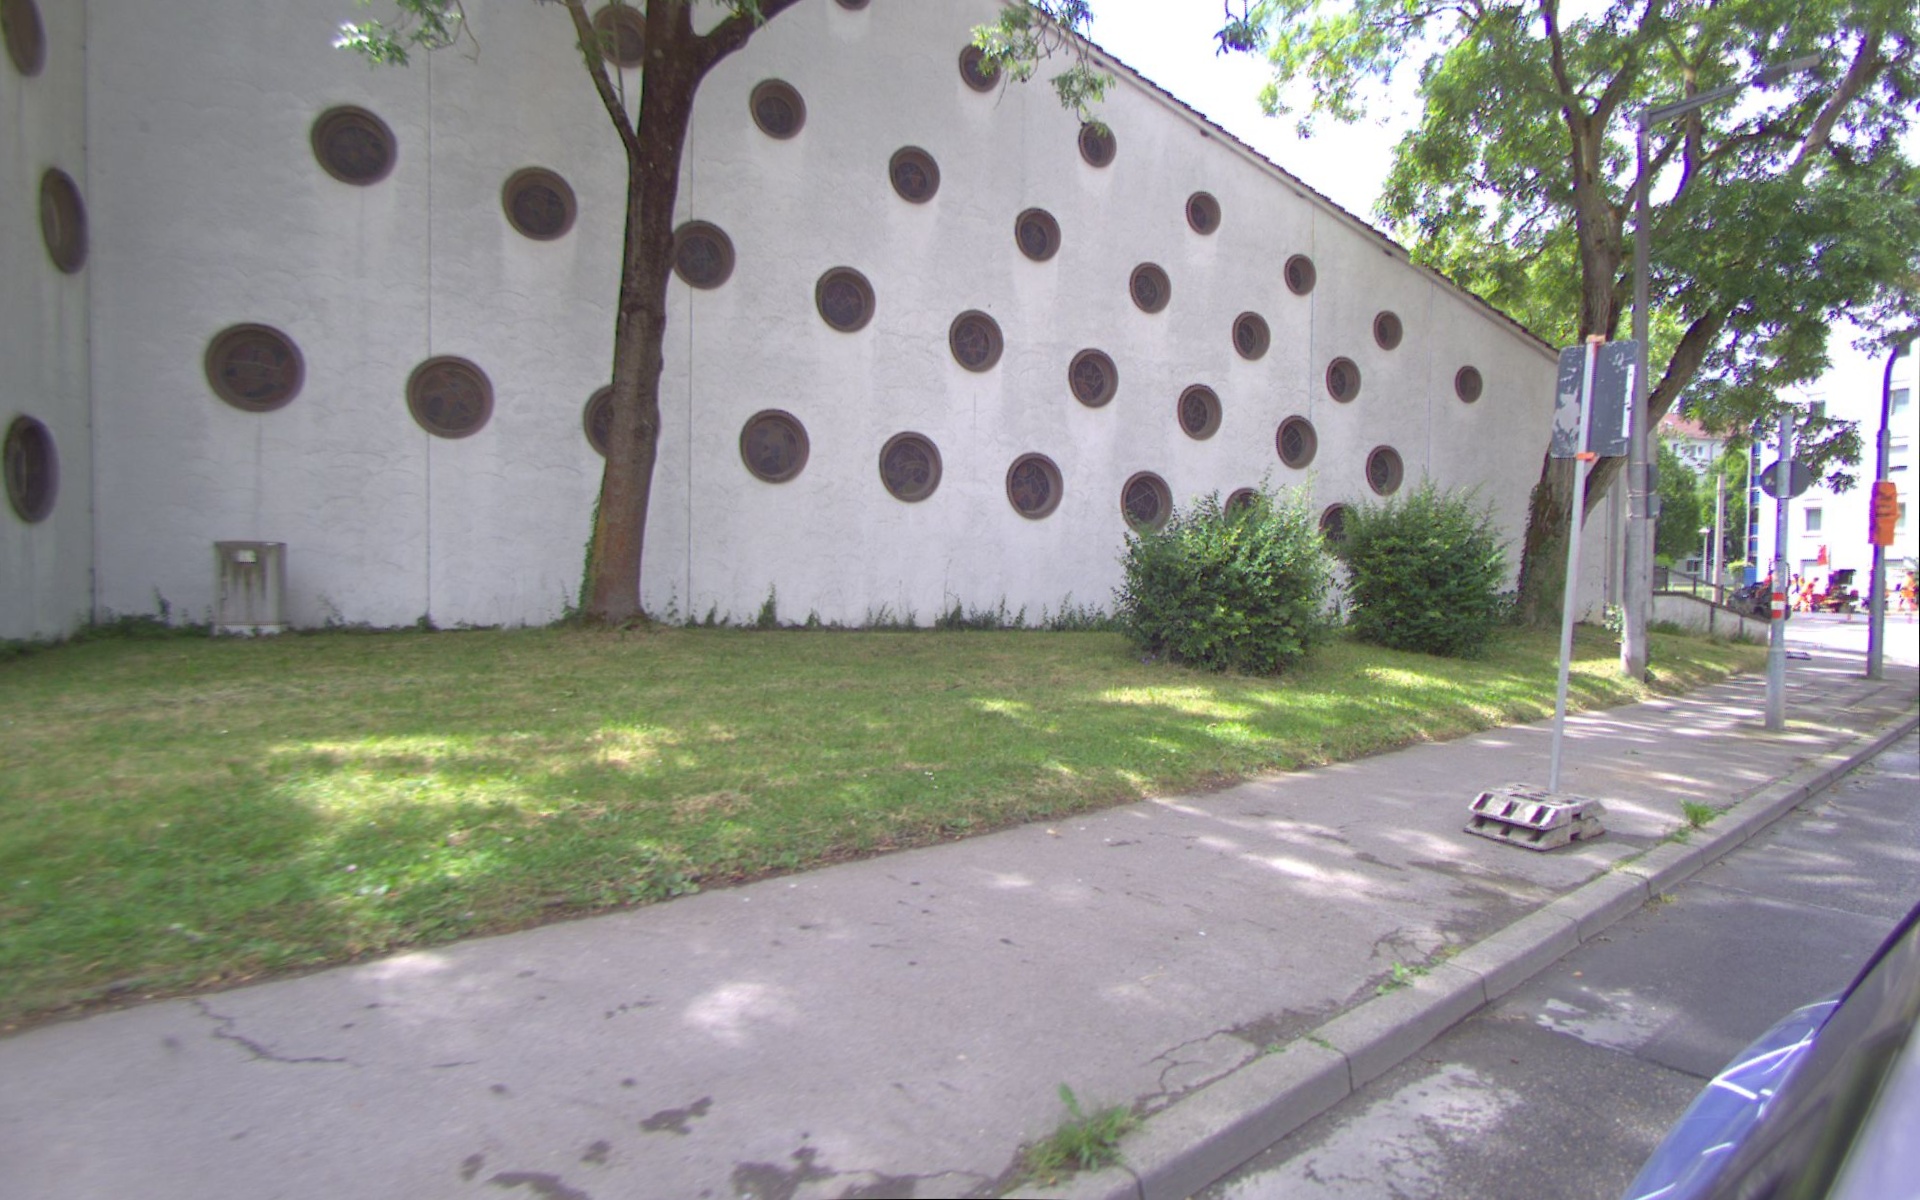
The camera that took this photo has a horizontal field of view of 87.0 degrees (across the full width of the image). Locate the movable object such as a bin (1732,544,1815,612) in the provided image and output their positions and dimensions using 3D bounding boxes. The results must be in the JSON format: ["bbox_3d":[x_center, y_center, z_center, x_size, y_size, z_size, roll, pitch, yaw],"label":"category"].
[{"bbox_3d":[32.225,-0.885,40.154,1.295,2.626,2.364,0,1,-1],"label":"movable object such as a bin"}]

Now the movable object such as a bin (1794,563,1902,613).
[{"bbox_3d":[38.525,-0.556,43.993,1.961,2.038,2.971,1,2,-3],"label":"movable object such as a bin"}]

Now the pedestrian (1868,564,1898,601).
[{"bbox_3d":[42.655,-0.808,46.781,0.874,1.704,0.660,1,2,31],"label":"pedestrian"}]

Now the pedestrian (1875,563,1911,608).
[{"bbox_3d":[39.004,-0.626,42.315,0.767,1.862,0.770,1,1,-14],"label":"pedestrian"}]

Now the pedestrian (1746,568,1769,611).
[{"bbox_3d":[31.951,-0.414,40.549,0.461,1.702,0.560,-2,2,-9],"label":"pedestrian"}]

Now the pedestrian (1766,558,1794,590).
[{"bbox_3d":[31.919,-1.000,39.382,0.540,1.231,0.618,1,1,-2],"label":"pedestrian"}]

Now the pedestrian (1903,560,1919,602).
[{"bbox_3d":[42.491,-0.838,44.565,1.073,1.846,0.876,1,1,-13],"label":"pedestrian"}]

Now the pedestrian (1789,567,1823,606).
[{"bbox_3d":[38.523,-0.615,46.113,0.738,1.738,0.920,0,1,-7],"label":"pedestrian"}]
